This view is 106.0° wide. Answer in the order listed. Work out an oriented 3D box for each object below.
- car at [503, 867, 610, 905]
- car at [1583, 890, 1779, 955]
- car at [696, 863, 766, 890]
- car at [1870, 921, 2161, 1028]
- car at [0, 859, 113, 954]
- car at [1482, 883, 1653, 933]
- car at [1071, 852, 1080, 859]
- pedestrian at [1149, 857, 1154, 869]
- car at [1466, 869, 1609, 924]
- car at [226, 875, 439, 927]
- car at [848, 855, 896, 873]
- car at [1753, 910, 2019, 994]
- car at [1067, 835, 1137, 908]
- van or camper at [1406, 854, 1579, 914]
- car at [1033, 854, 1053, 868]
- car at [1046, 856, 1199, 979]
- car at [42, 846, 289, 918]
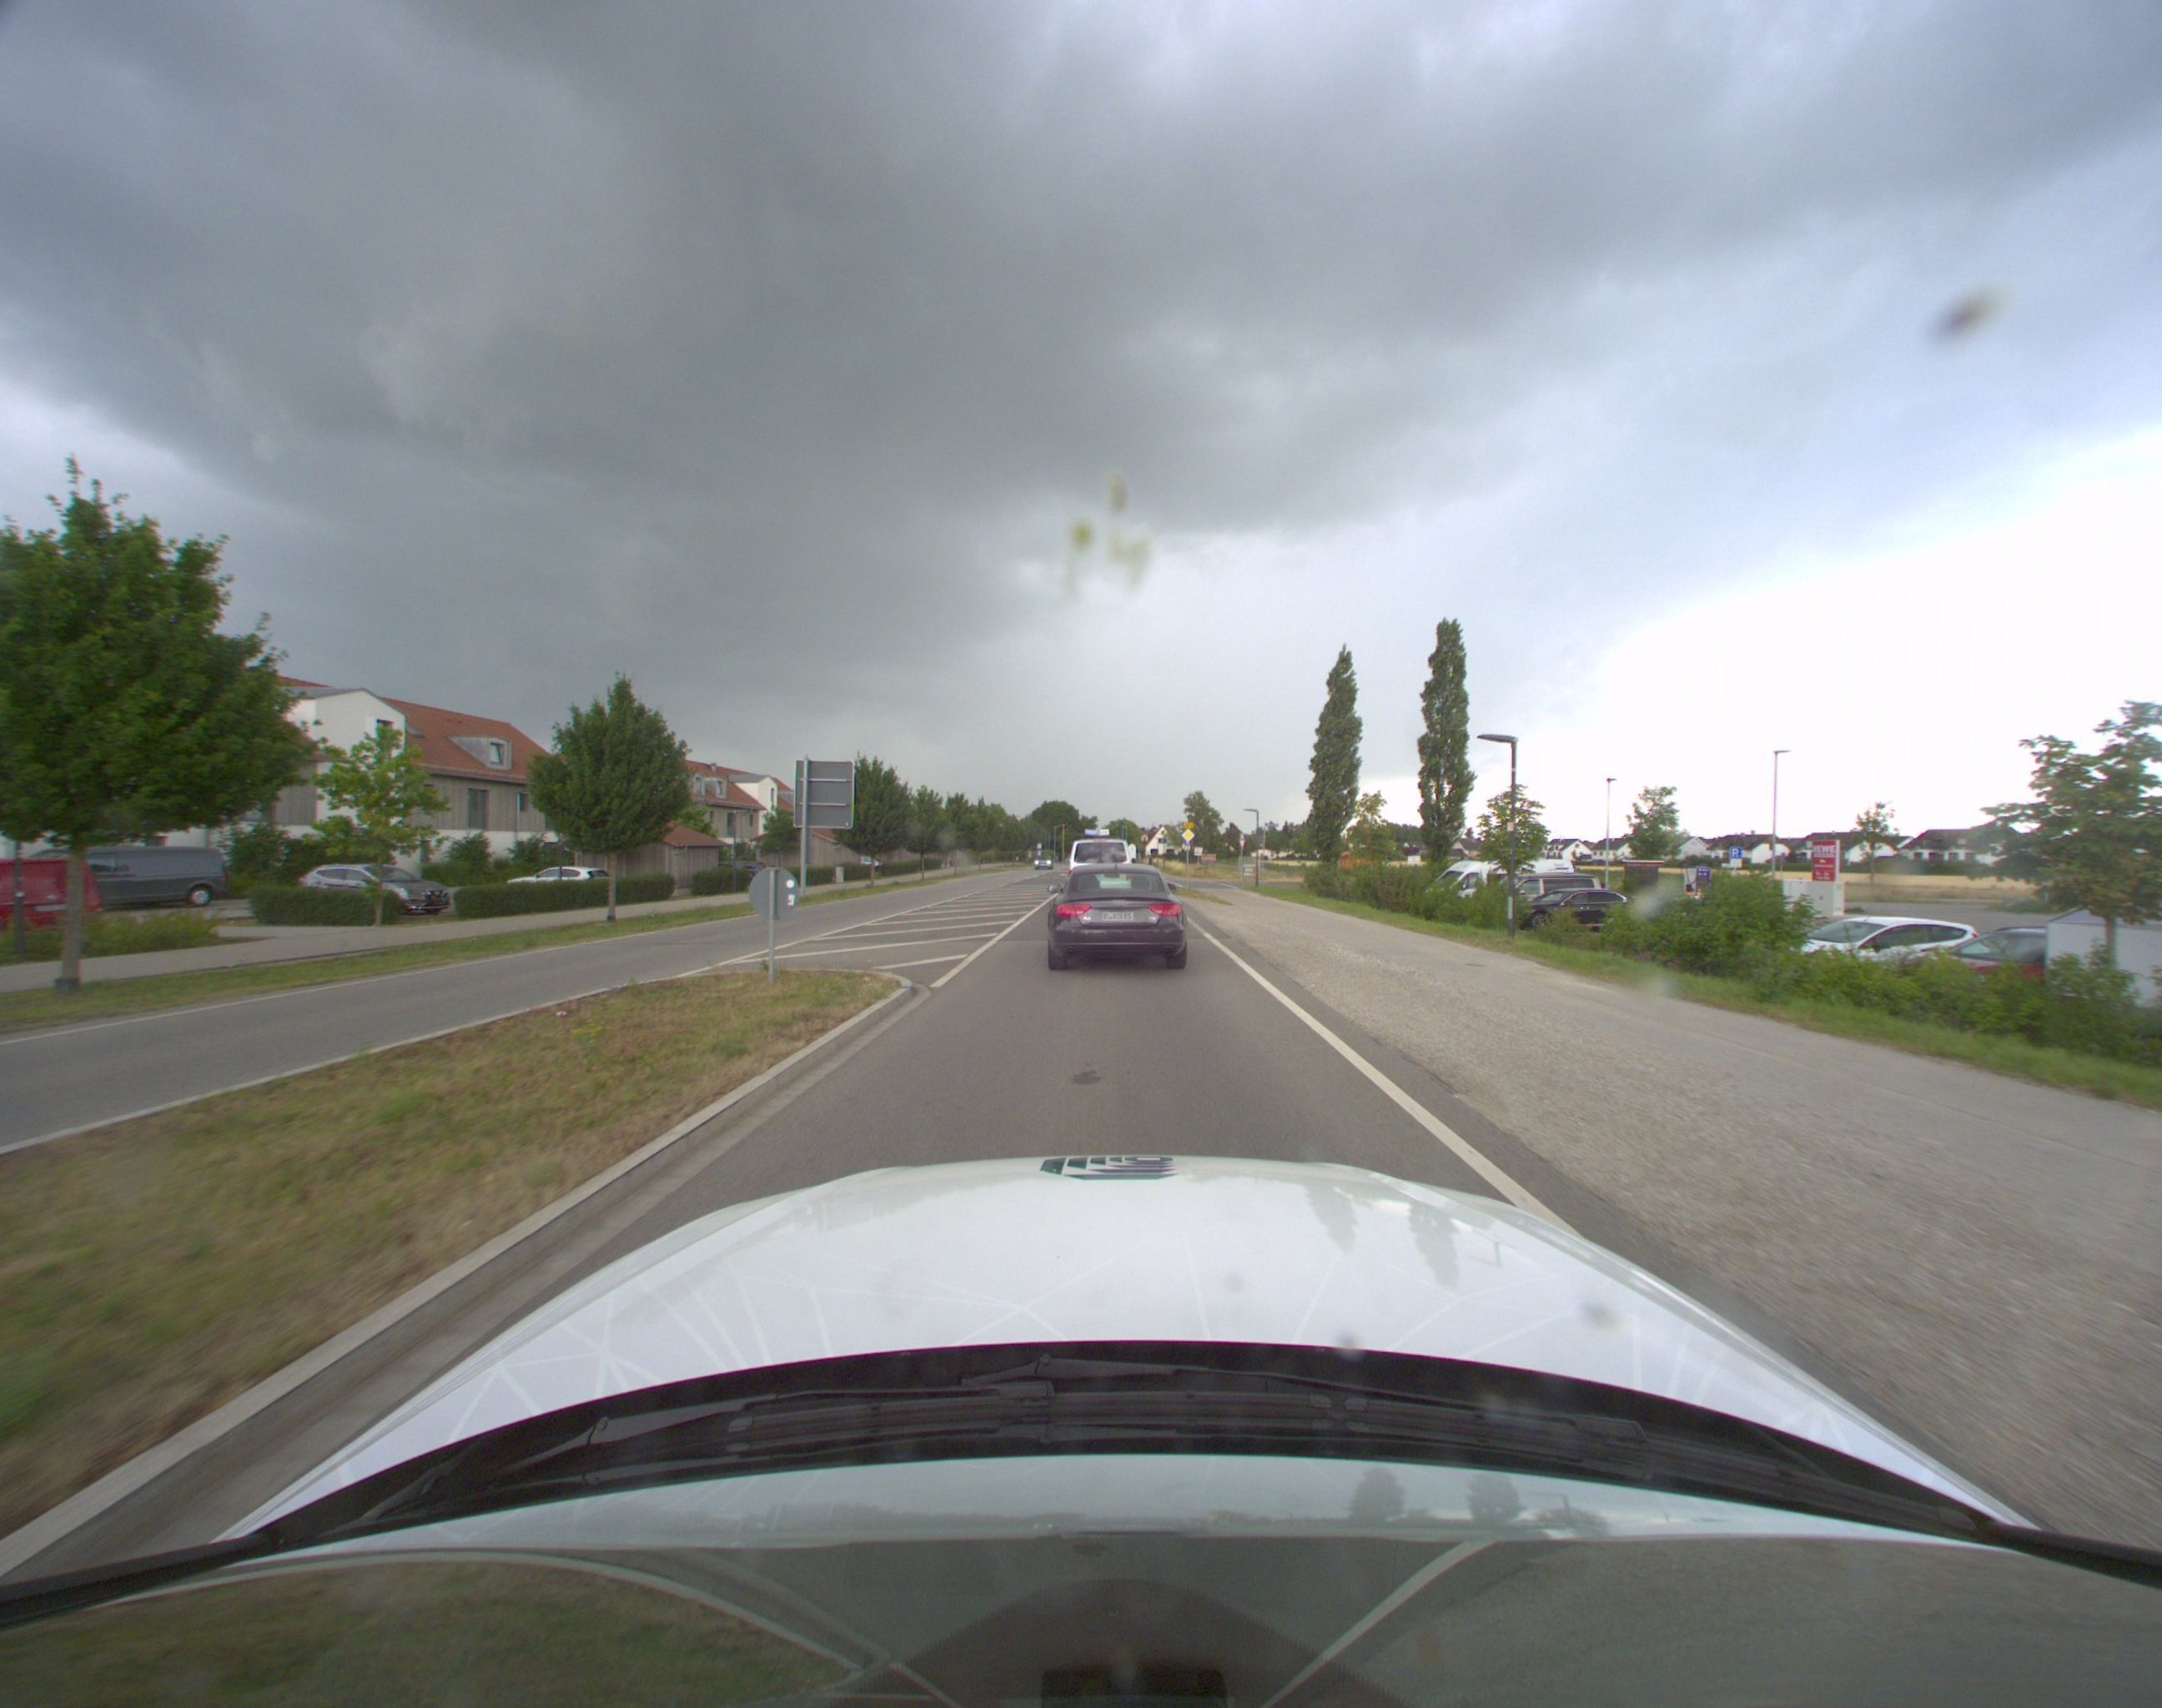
[{"bbox_3d":[-22.360,1.362,34.784,3.501,1.489,1.564,-1,0,1],"label":"car"},{"bbox_3d":[17.161,1.930,23.450,4.133,1.598,2.080,-1,0,0],"label":"car"},{"bbox_3d":[-20.878,1.340,48.633,3.501,1.489,1.564,-1,0,1],"label":"car"},{"bbox_3d":[16.466,2.049,14.230,3.744,1.538,1.676,-1,0,0],"label":"car"},{"bbox_3d":[-23.261,1.061,16.751,4.879,1.816,1.910,-1,0,7],"label":"car"},{"bbox_3d":[17.369,1.903,29.225,5.079,1.598,1.758,-1,0,-1],"label":"car"},{"bbox_3d":[-1.113,0.271,163.188,1.647,1.429,3.603,-1,0,2],"label":"car"},{"bbox_3d":[8.706,1.109,100.869,0.621,1.525,0.680,-1,0,1],"label":"pedestrian"},{"bbox_3d":[18.153,1.670,32.533,4.578,2.013,2.000,-1,0,0],"label":"car"},{"bbox_3d":[-23.062,1.428,25.205,4.885,1.430,1.907,-1,0,2],"label":"car"},{"bbox_3d":[-20.351,0.962,79.425,3.970,1.556,2.002,2,0,3],"label":"car"},{"bbox_3d":[17.320,2.081,17.655,4.133,1.538,1.676,-1,0,0],"label":"car"},{"bbox_3d":[0.585,0.466,23.959,1.819,1.913,4.000,2,0,0],"label":"car"},{"bbox_3d":[17.902,1.267,35.644,6.447,2.464,2.281,-1,0,-1],"label":"van or camper"},{"bbox_3d":[-3.918,0.715,85.352,1.763,1.443,4.002,-1,0,2],"label":"car"},{"bbox_3d":[0.416,0.767,11.965,1.821,1.388,4.383,-1,0,-2],"label":"car"},{"bbox_3d":[-29.952,0.819,26.986,1.984,2.013,5.207,3,1,5],"label":"car"}]
